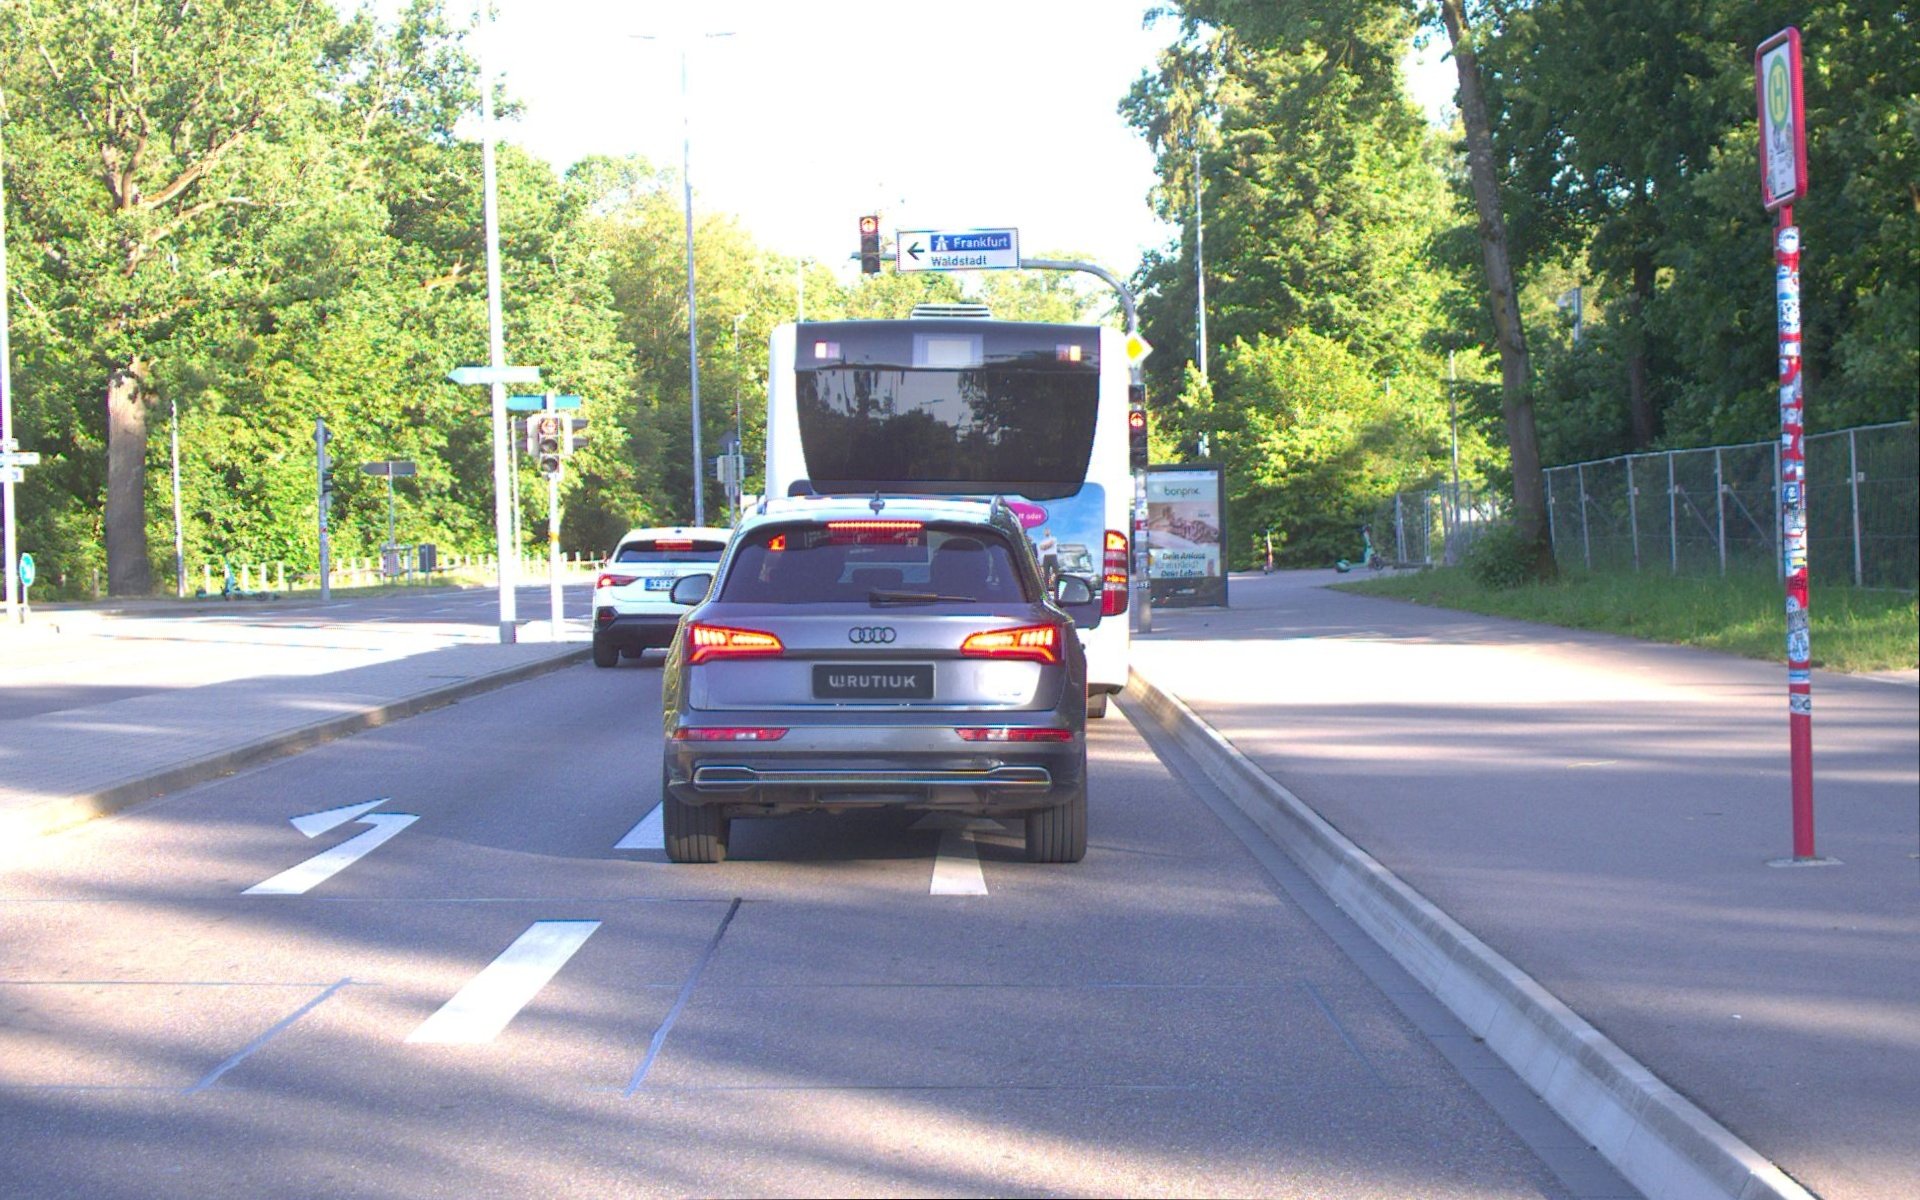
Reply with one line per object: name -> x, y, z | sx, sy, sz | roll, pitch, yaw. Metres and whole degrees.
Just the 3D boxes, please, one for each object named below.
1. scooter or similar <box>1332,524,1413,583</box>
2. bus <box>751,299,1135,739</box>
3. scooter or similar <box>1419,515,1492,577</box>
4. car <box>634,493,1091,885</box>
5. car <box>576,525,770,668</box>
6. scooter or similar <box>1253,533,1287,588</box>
scooter or similar -> 10.746, -1.214, 89.556 | 2.015, 1.439, 0.606 | -3, 1, -24
bus -> -0.109, -0.603, 27.947 | 2.595, 2.978, 9.327 | 0, 1, 0
scooter or similar -> 13.083, -1.421, 90.812 | 0.539, 1.562, 2.022 | -3, 1, -39
car -> -0.404, 0.327, 16.303 | 1.898, 1.626, 4.000 | 0, 1, 0
car -> -3.206, -0.082, 39.097 | 1.836, 1.513, 4.000 | -1, 1, 0
scooter or similar -> 8.310, -1.066, 92.121 | 0.508, 1.439, 2.023 | -2, 1, -5
